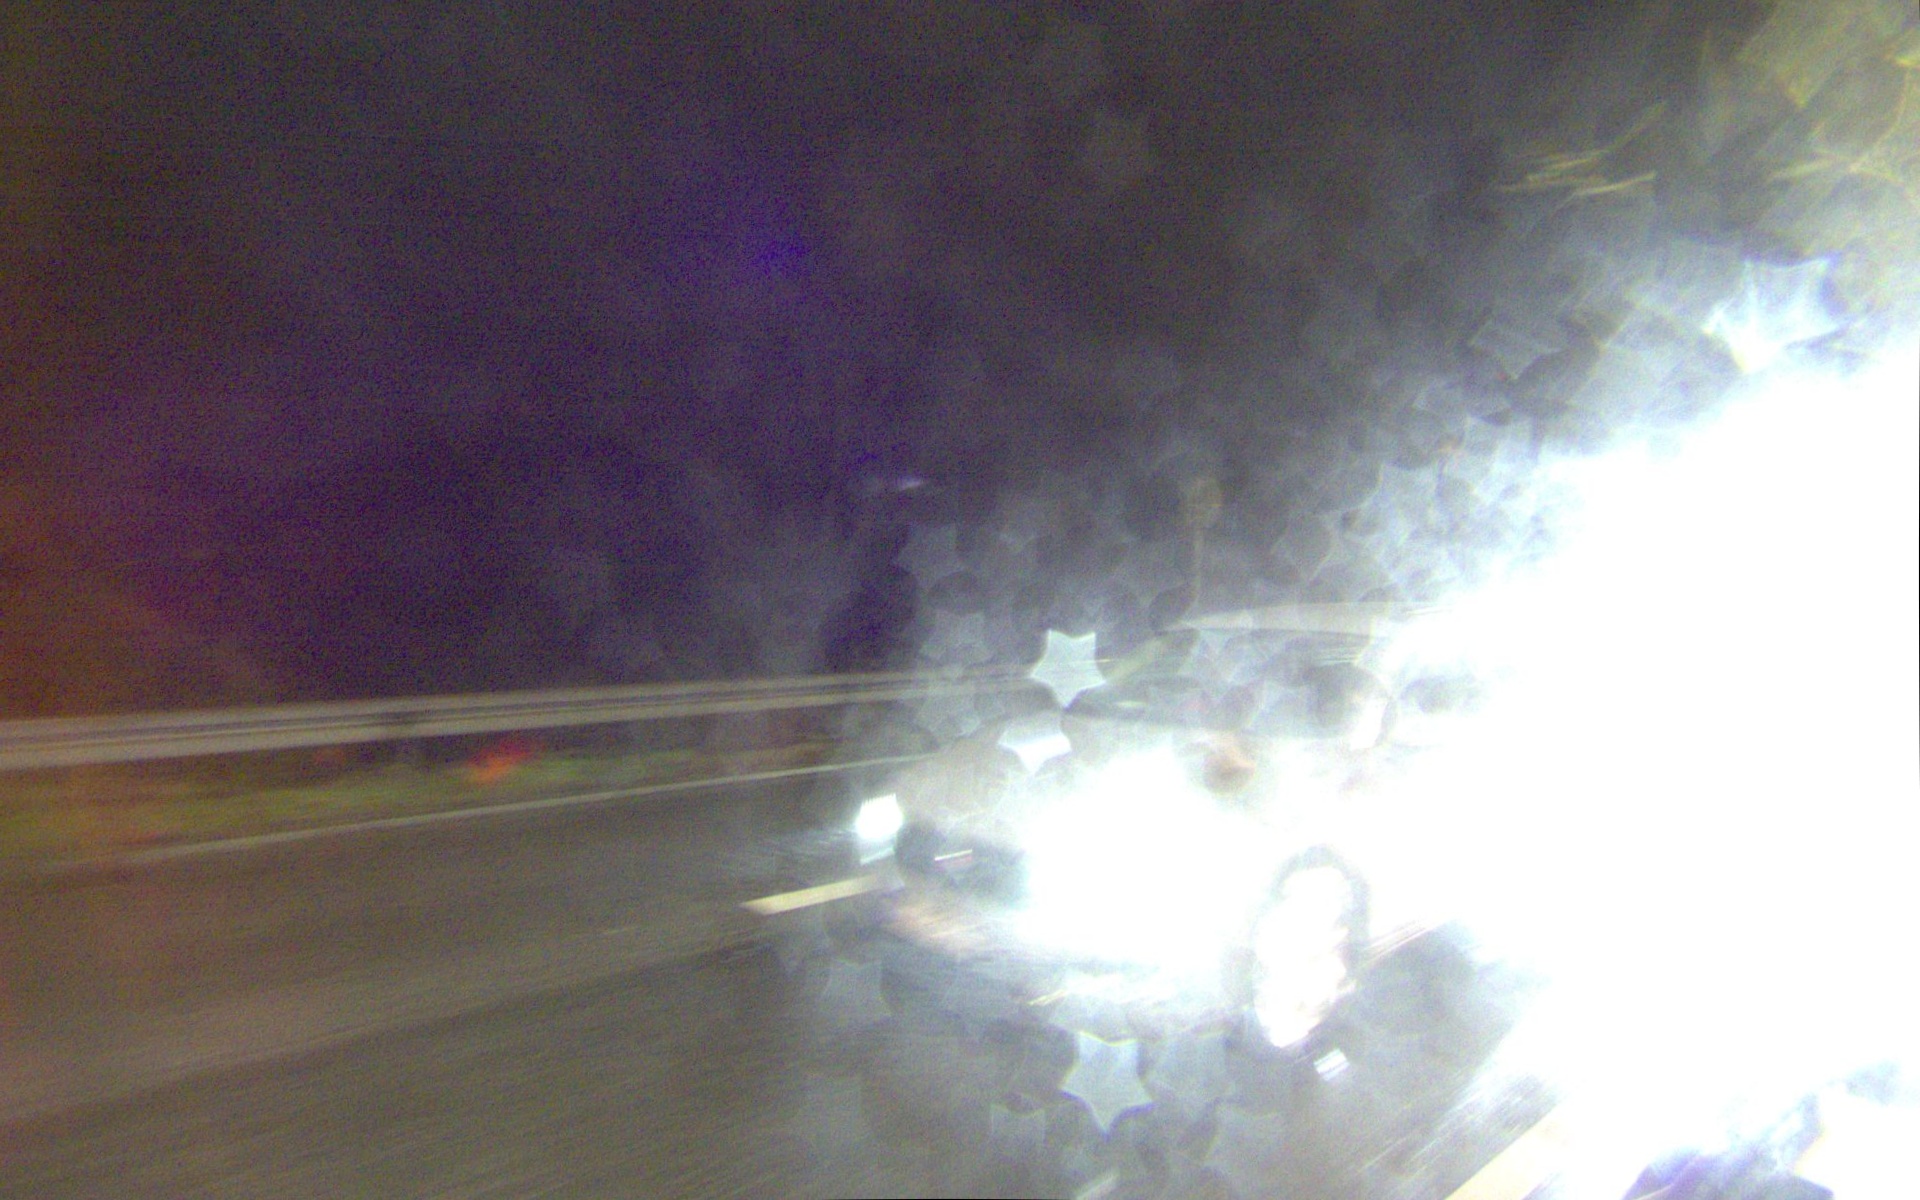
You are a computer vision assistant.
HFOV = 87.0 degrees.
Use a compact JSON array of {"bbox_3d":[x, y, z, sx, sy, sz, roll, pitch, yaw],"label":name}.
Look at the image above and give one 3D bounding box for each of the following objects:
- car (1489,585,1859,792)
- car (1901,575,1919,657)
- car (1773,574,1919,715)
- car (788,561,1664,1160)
[{"bbox_3d":[6.599,0.609,9.190,4.066,1.435,1.742,-1,1,-40],"label":"car"},{"bbox_3d":[21.201,0.303,20.989,4.315,1.618,1.997,-1,2,-41],"label":"car"},{"bbox_3d":[12.448,0.470,13.284,4.315,1.618,1.997,-1,2,-41],"label":"car"},{"bbox_3d":[1.541,0.626,4.660,4.336,1.540,1.710,-1,1,-40],"label":"car"}]
